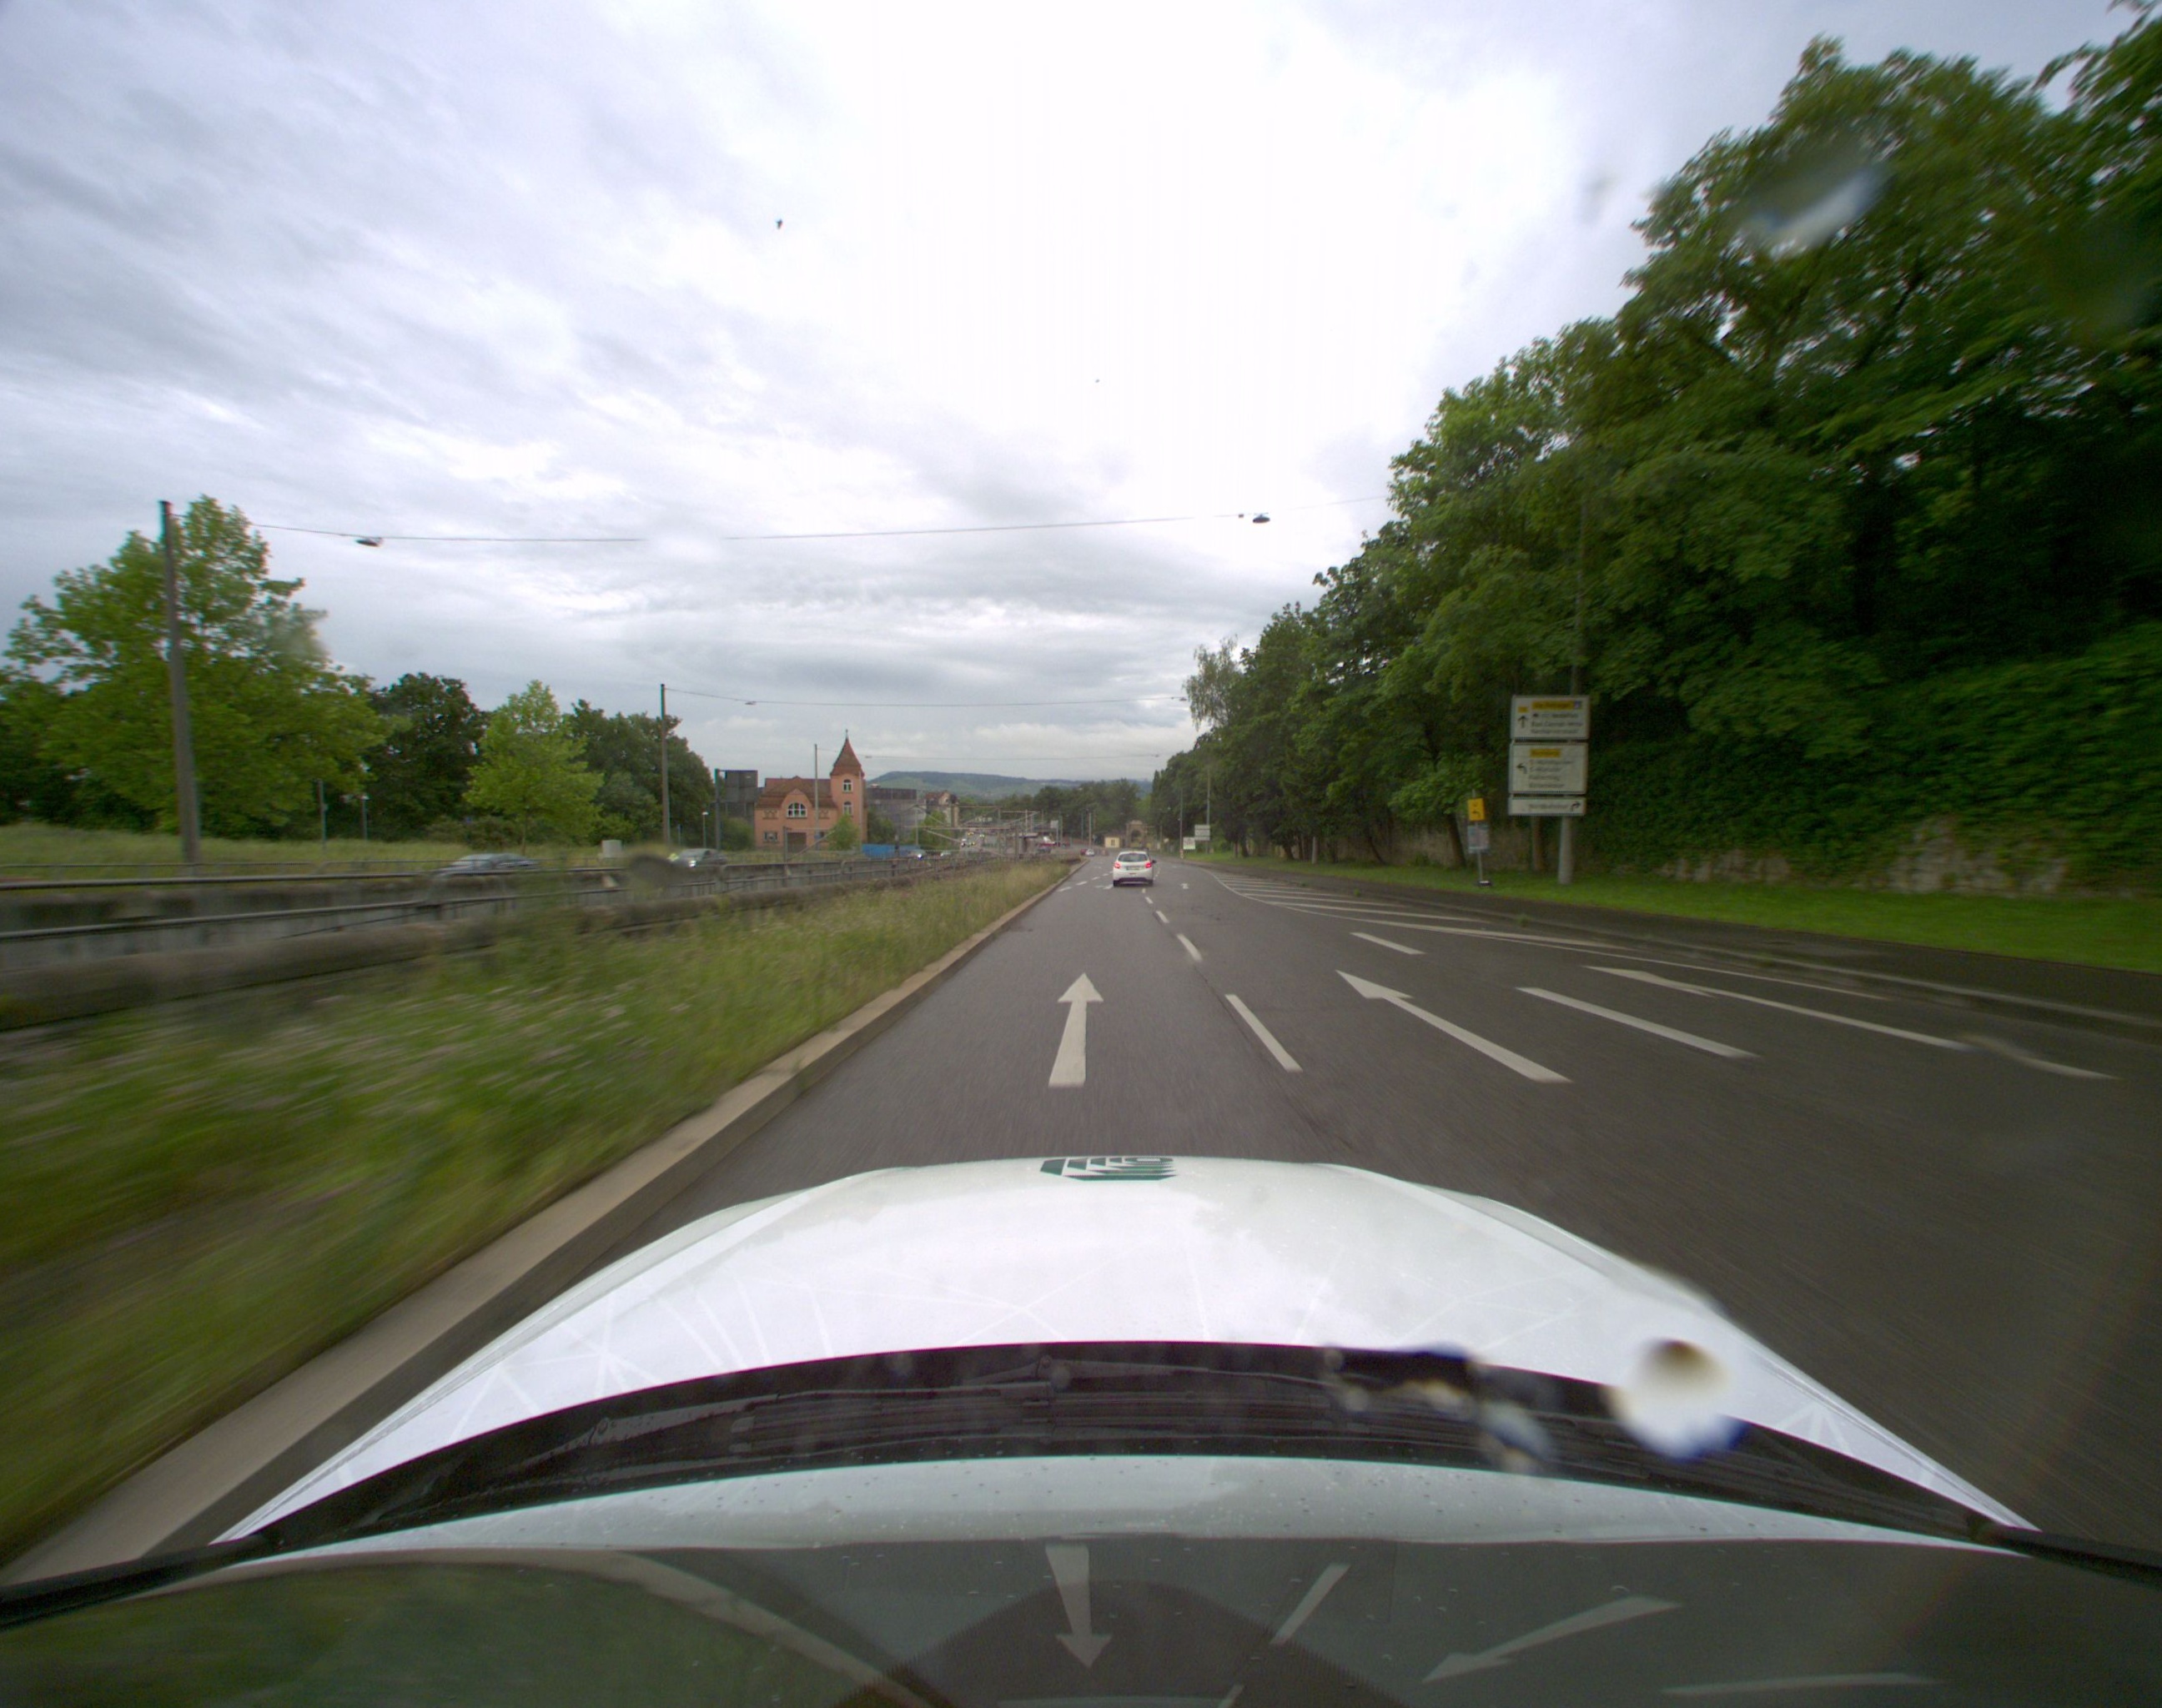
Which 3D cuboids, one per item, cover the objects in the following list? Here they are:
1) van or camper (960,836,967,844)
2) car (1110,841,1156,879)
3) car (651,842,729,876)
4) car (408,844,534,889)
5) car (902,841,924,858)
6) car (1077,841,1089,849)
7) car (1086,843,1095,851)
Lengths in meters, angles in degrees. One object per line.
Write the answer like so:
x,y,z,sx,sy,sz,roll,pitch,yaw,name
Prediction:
-37.226,-4.417,257.644,1.991,2.344,3.992,0,1,-6,van or camper
2.225,0.212,35.342,1.861,1.510,3.902,-1,1,2,car
-20.983,0.211,43.955,1.883,1.644,4.361,3,1,3,car
-24.061,0.432,32.318,1.883,1.640,3.976,0,1,3,car
-20.610,-0.595,100.026,1.885,1.970,4.034,3,1,-1,car
0.437,-2.125,188.790,1.996,1.705,3.983,0,1,-13,car
2.160,-1.618,179.926,1.815,1.606,4.004,-2,1,3,car
